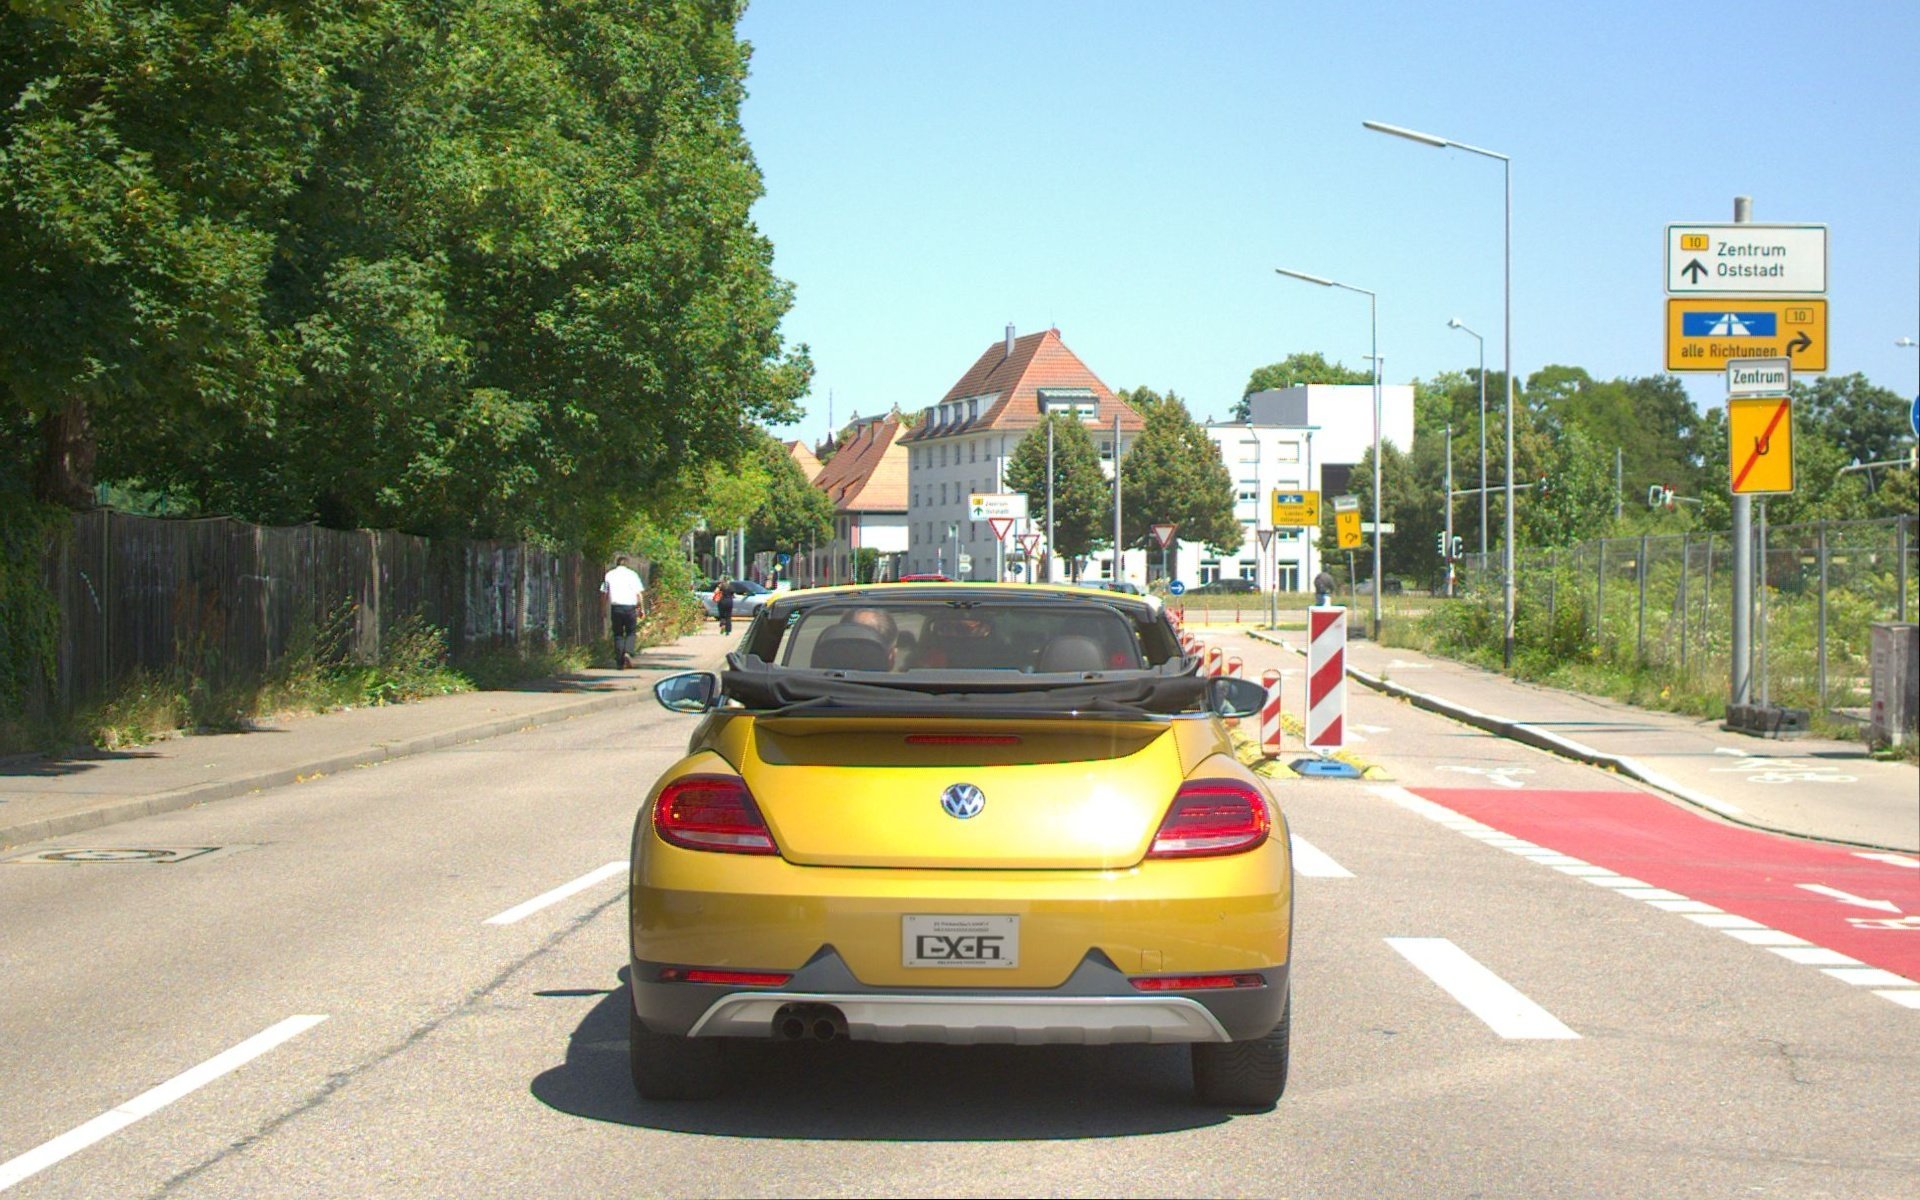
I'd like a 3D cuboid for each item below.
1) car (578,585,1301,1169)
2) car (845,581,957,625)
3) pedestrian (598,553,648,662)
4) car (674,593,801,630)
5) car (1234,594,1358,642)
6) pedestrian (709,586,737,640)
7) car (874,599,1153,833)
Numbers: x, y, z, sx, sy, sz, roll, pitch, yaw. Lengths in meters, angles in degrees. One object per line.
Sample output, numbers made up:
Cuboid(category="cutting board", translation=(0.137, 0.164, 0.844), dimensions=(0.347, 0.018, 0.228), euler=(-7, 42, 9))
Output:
Cuboid(category="car", translation=(-0.021, 0.677, 10.427), dimensions=(1.790, 1.432, 3.813), euler=(0, 0, 1))
Cuboid(category="car", translation=(-2.250, 0.122, 132.043), dimensions=(4.065, 1.671, 1.784), euler=(0, 0, 8))
Cuboid(category="pedestrian", translation=(-5.334, 0.117, 54.423), dimensions=(0.722, 1.719, 0.818), euler=(0, 0, -1))
Cuboid(category="car", translation=(-8.134, 0.423, 125.799), dimensions=(4.441, 1.353, 1.537), euler=(0, 0, 8))
Cuboid(category="car", translation=(11.401, 0.613, 116.459), dimensions=(3.989, 1.607, 1.790), euler=(0, 0, 13))
Cuboid(category="pedestrian", translation=(-6.379, 0.346, 92.481), dimensions=(0.722, 1.449, 0.818), euler=(0, 0, -1))
Cuboid(category="car", translation=(0.428, 0.713, 23.254), dimensions=(1.727, 1.438, 4.000), euler=(0, 0, 3))
